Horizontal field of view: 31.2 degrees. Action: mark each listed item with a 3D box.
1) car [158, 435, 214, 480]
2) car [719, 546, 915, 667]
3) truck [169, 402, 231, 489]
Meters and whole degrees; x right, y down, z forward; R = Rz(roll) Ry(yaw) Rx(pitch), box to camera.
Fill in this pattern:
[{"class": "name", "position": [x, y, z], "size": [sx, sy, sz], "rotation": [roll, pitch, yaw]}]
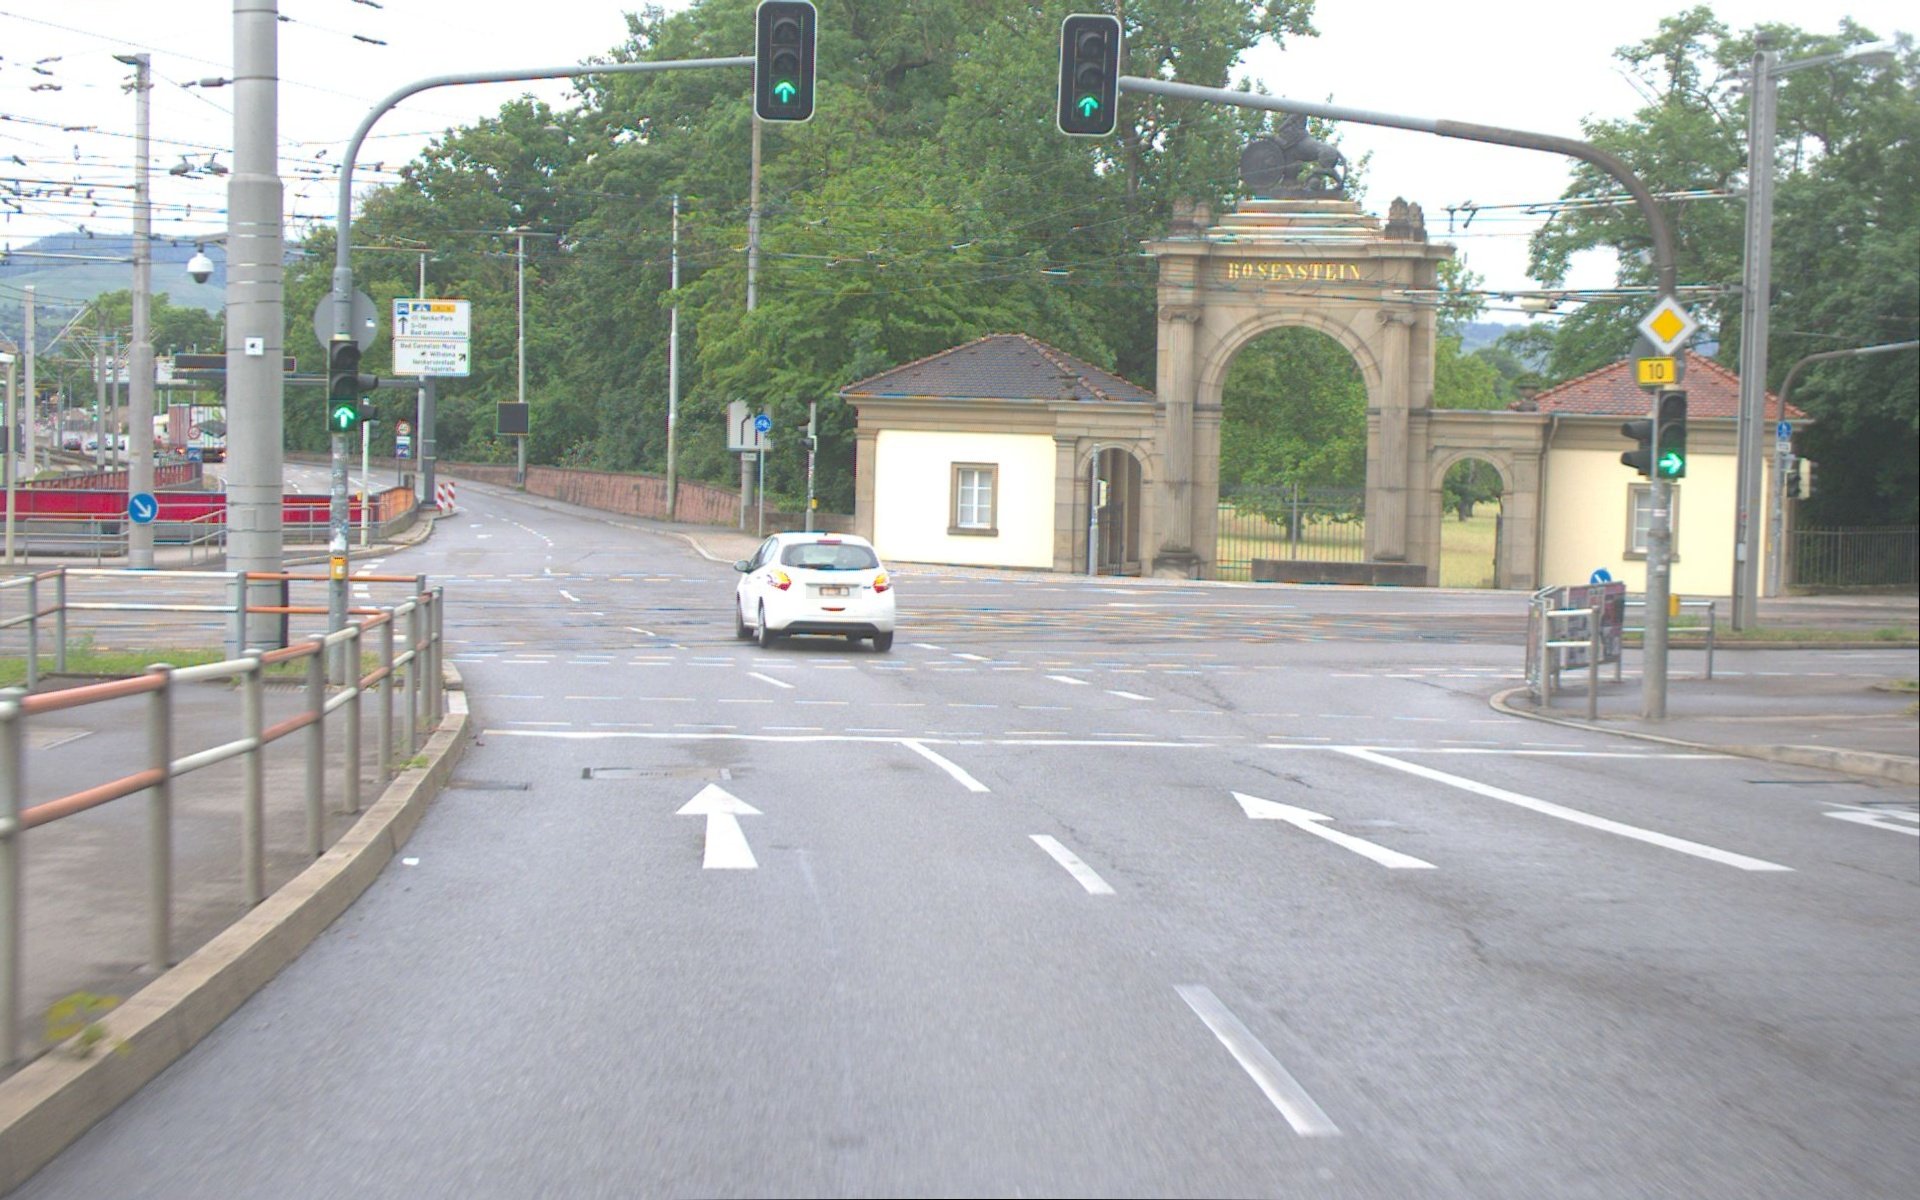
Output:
[{"class": "car", "position": [-32.947, -6.057, 146.269], "size": [1.993, 1.866, 4.002], "rotation": [-1, 2, -17]}, {"class": "car", "position": [-1.909, 0.097, 44.678], "size": [1.955, 1.483, 4.001], "rotation": [1, -1, -11]}, {"class": "truck", "position": [-53.143, -10.730, 240.123], "size": [3.463, 5.382, 12.055], "rotation": [1, -1, -16]}]
